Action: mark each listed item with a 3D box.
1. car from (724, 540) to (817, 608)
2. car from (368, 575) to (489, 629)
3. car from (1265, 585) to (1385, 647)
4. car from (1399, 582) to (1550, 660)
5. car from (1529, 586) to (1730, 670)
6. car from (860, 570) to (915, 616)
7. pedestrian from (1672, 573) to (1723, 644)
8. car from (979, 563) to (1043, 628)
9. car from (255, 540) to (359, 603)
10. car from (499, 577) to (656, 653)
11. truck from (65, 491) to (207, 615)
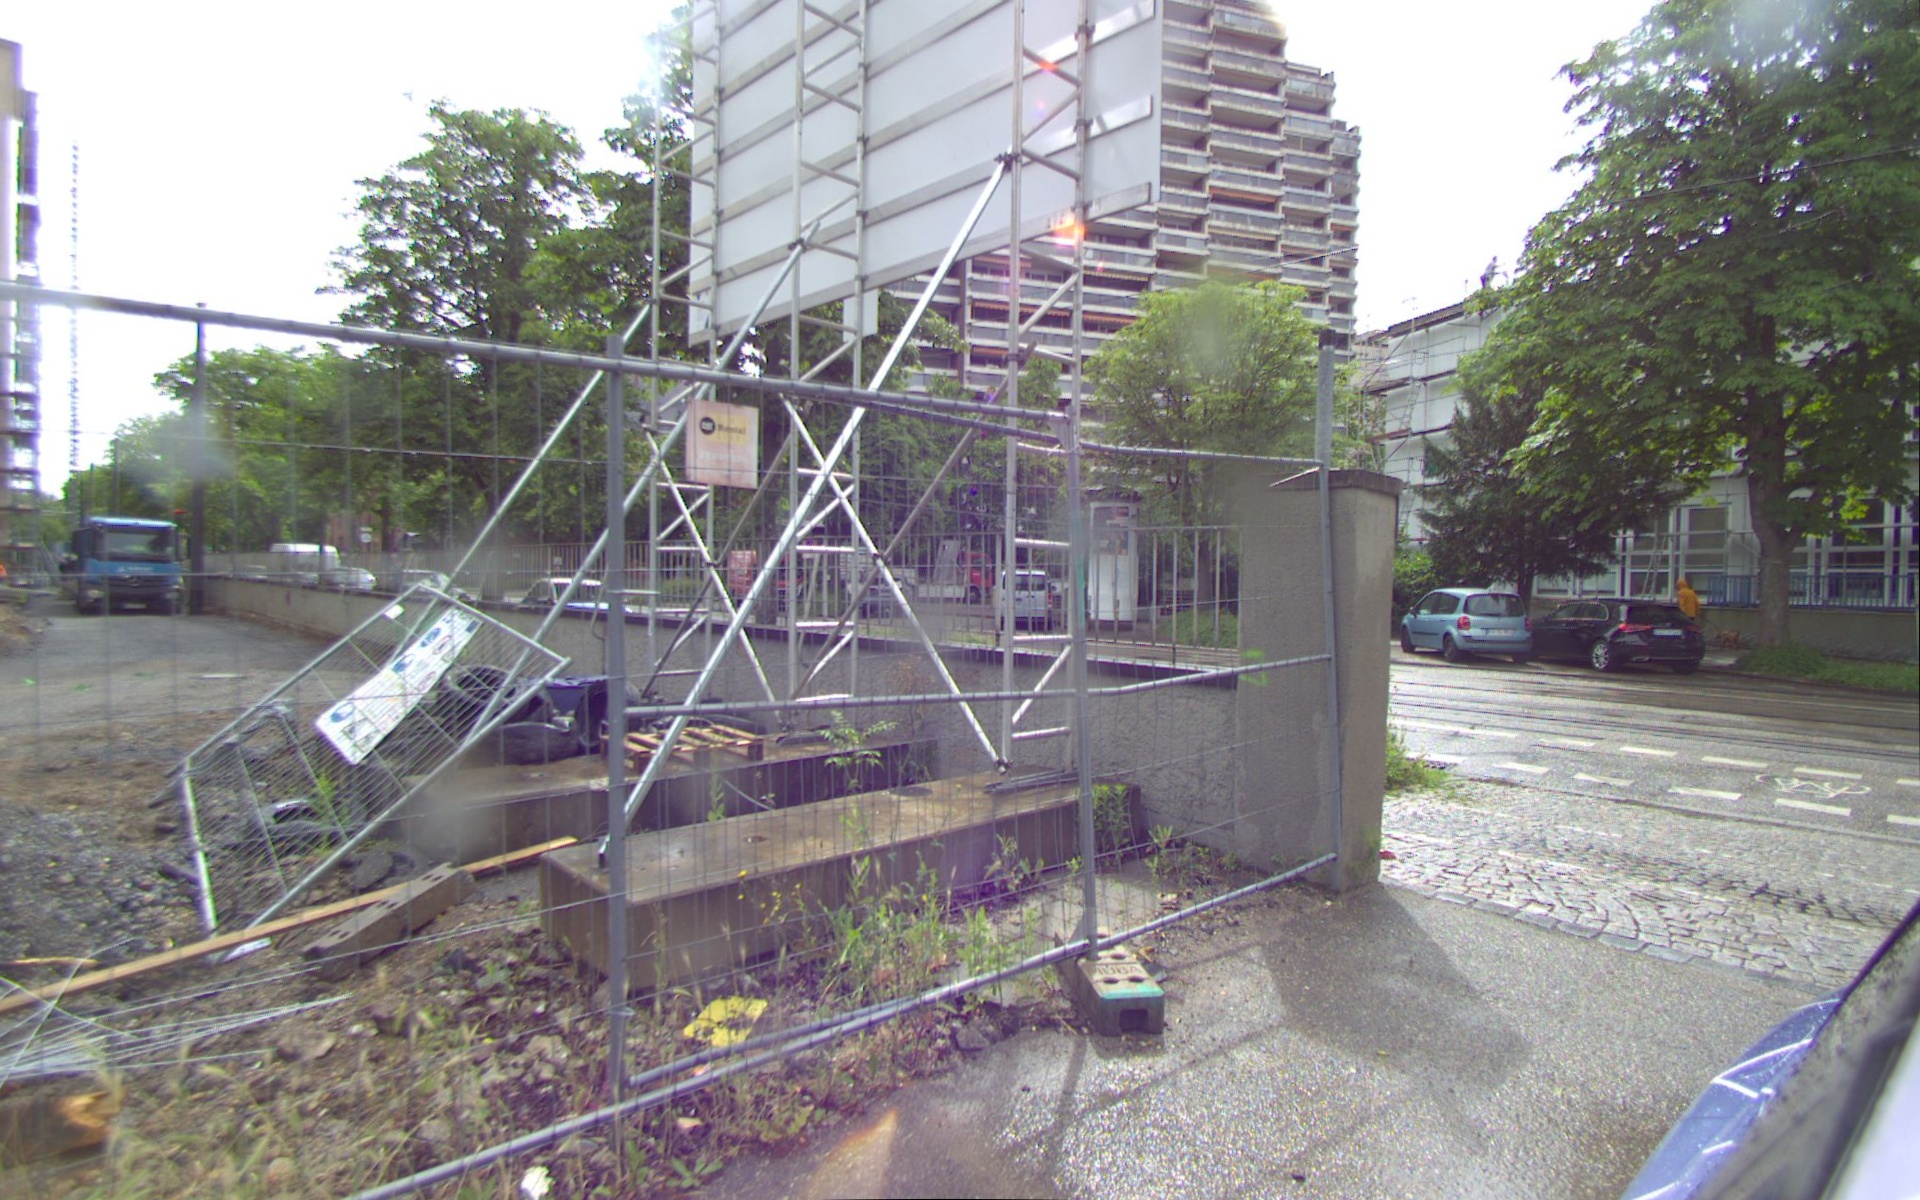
[{"bbox_3d":[-8.279,-1.133,43.658,2.256,2.666,5.491,2,1,-29],"label":"car"},{"bbox_3d":[-15.721,0.049,29.862,3.985,1.489,1.861,1,-1,42],"label":"car"},{"bbox_3d":[9.290,0.356,26.064,1.736,1.414,3.650,1,1,0],"label":"car"},{"bbox_3d":[11.515,0.398,22.929,1.677,1.570,3.648,1,1,3],"label":"car"},{"bbox_3d":[13.460,0.486,20.628,1.709,1.488,3.649,1,1,2],"label":"car"},{"bbox_3d":[-2.765,-0.309,39.170,1.752,1.584,4.047,1,3,1],"label":"car"},{"bbox_3d":[18.713,0.214,25.703,0.695,1.765,0.838,1,-1,6],"label":"pedestrian"},{"bbox_3d":[1.693,-0.189,33.297,1.903,1.920,4.642,2,1,3],"label":"car"},{"bbox_3d":[-28.358,-1.193,43.863,2.554,2.505,6.136,2,-1,-45],"label":"car"},{"bbox_3d":[-8.419,0.294,22.086,1.858,1.489,3.992,2,-1,-42],"label":"car"},{"bbox_3d":[-28.167,-1.421,34.373,3.187,3.572,9.892,2,-1,-42],"label":"truck"}]
